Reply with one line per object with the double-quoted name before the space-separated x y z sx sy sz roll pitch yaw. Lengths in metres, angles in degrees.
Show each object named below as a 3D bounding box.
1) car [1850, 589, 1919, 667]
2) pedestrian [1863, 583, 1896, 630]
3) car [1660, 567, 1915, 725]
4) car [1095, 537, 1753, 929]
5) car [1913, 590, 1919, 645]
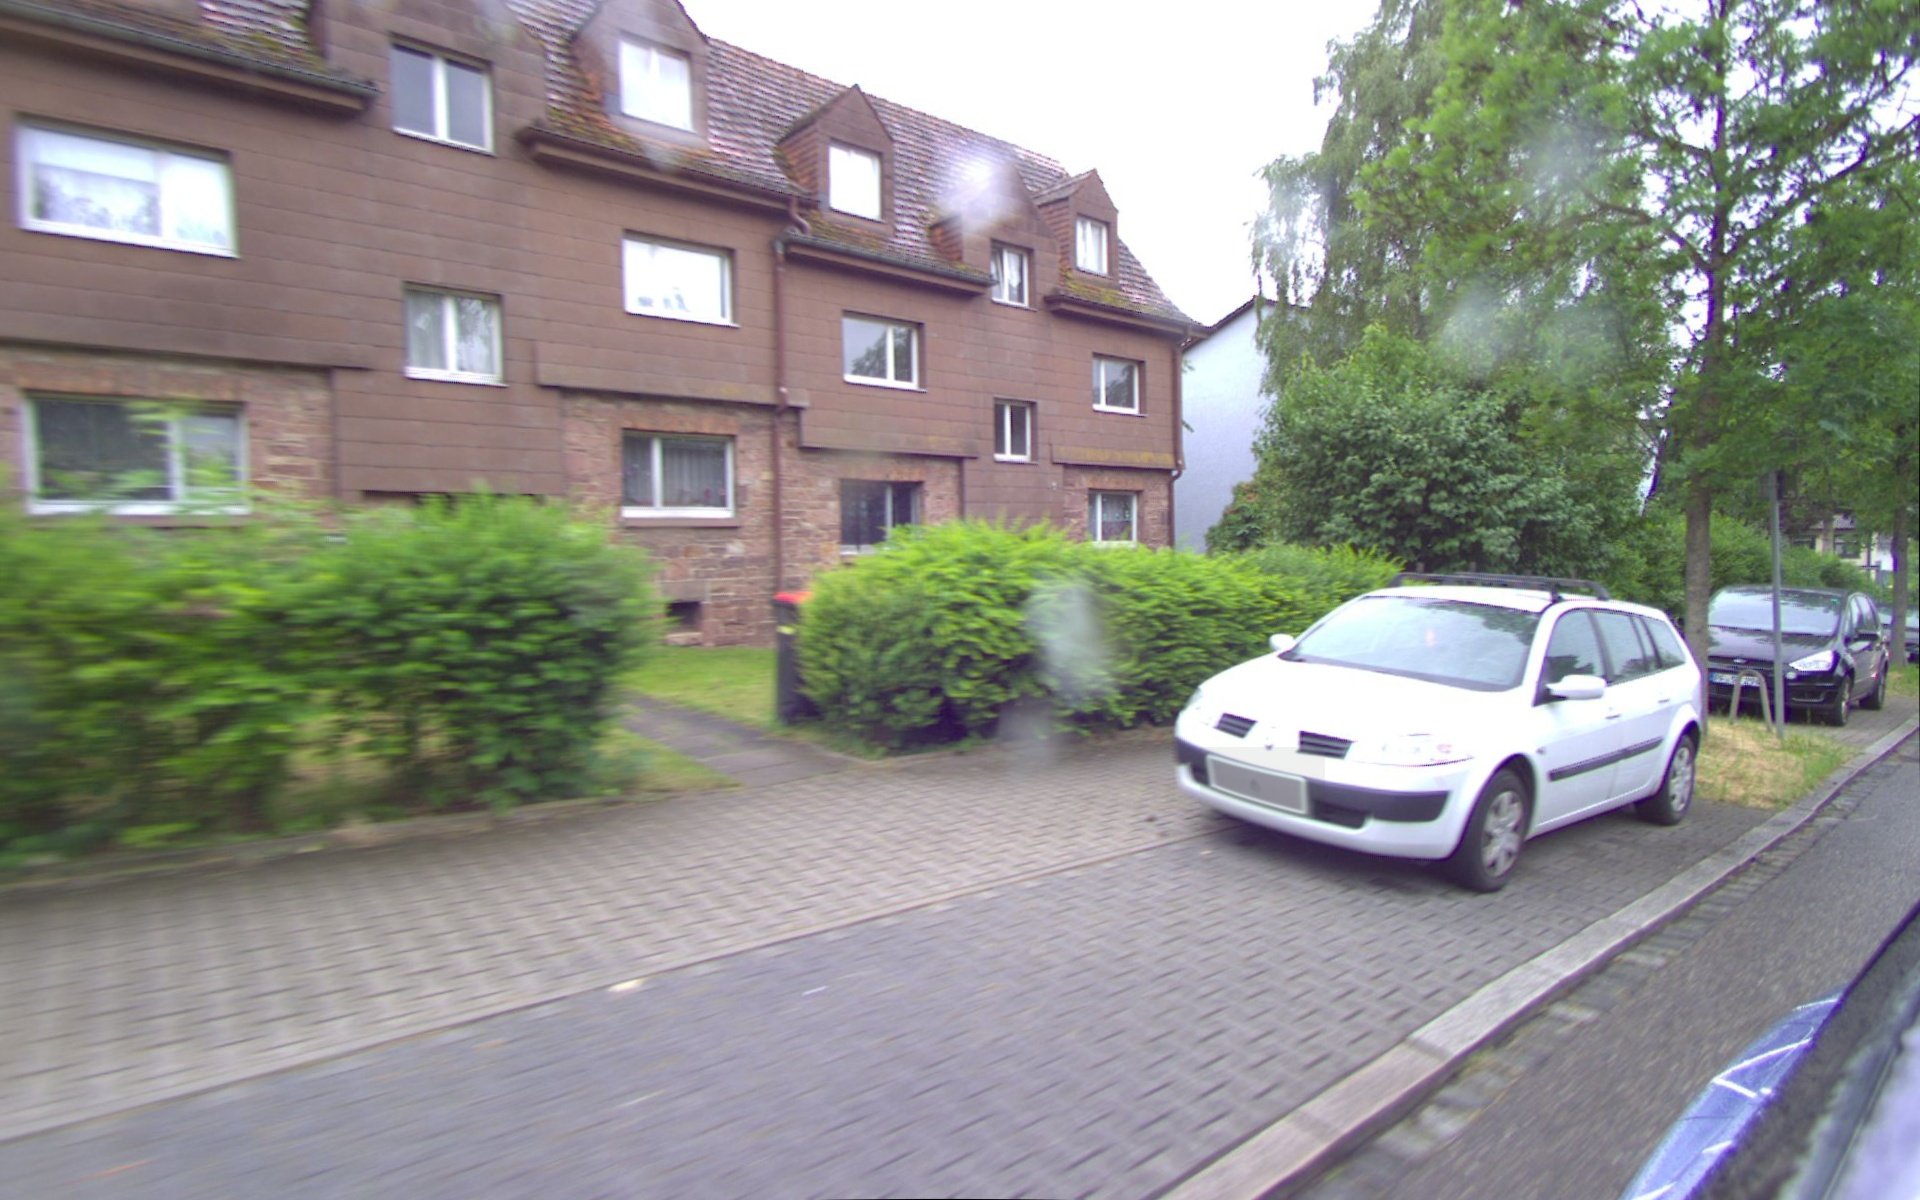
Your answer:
"car" 20.693 0.602 21.920 3.722 1.530 1.724 1 3 -43
"pedestrian" 33.968 0.224 37.380 0.641 1.700 0.710 1 2 -35
"car" 11.091 0.498 13.452 4.504 1.698 1.828 0 3 -41
"car" 3.080 0.530 6.304 4.391 1.622 1.830 1 3 -38
"car" 30.399 0.566 30.873 3.946 1.615 1.644 1 3 -43
